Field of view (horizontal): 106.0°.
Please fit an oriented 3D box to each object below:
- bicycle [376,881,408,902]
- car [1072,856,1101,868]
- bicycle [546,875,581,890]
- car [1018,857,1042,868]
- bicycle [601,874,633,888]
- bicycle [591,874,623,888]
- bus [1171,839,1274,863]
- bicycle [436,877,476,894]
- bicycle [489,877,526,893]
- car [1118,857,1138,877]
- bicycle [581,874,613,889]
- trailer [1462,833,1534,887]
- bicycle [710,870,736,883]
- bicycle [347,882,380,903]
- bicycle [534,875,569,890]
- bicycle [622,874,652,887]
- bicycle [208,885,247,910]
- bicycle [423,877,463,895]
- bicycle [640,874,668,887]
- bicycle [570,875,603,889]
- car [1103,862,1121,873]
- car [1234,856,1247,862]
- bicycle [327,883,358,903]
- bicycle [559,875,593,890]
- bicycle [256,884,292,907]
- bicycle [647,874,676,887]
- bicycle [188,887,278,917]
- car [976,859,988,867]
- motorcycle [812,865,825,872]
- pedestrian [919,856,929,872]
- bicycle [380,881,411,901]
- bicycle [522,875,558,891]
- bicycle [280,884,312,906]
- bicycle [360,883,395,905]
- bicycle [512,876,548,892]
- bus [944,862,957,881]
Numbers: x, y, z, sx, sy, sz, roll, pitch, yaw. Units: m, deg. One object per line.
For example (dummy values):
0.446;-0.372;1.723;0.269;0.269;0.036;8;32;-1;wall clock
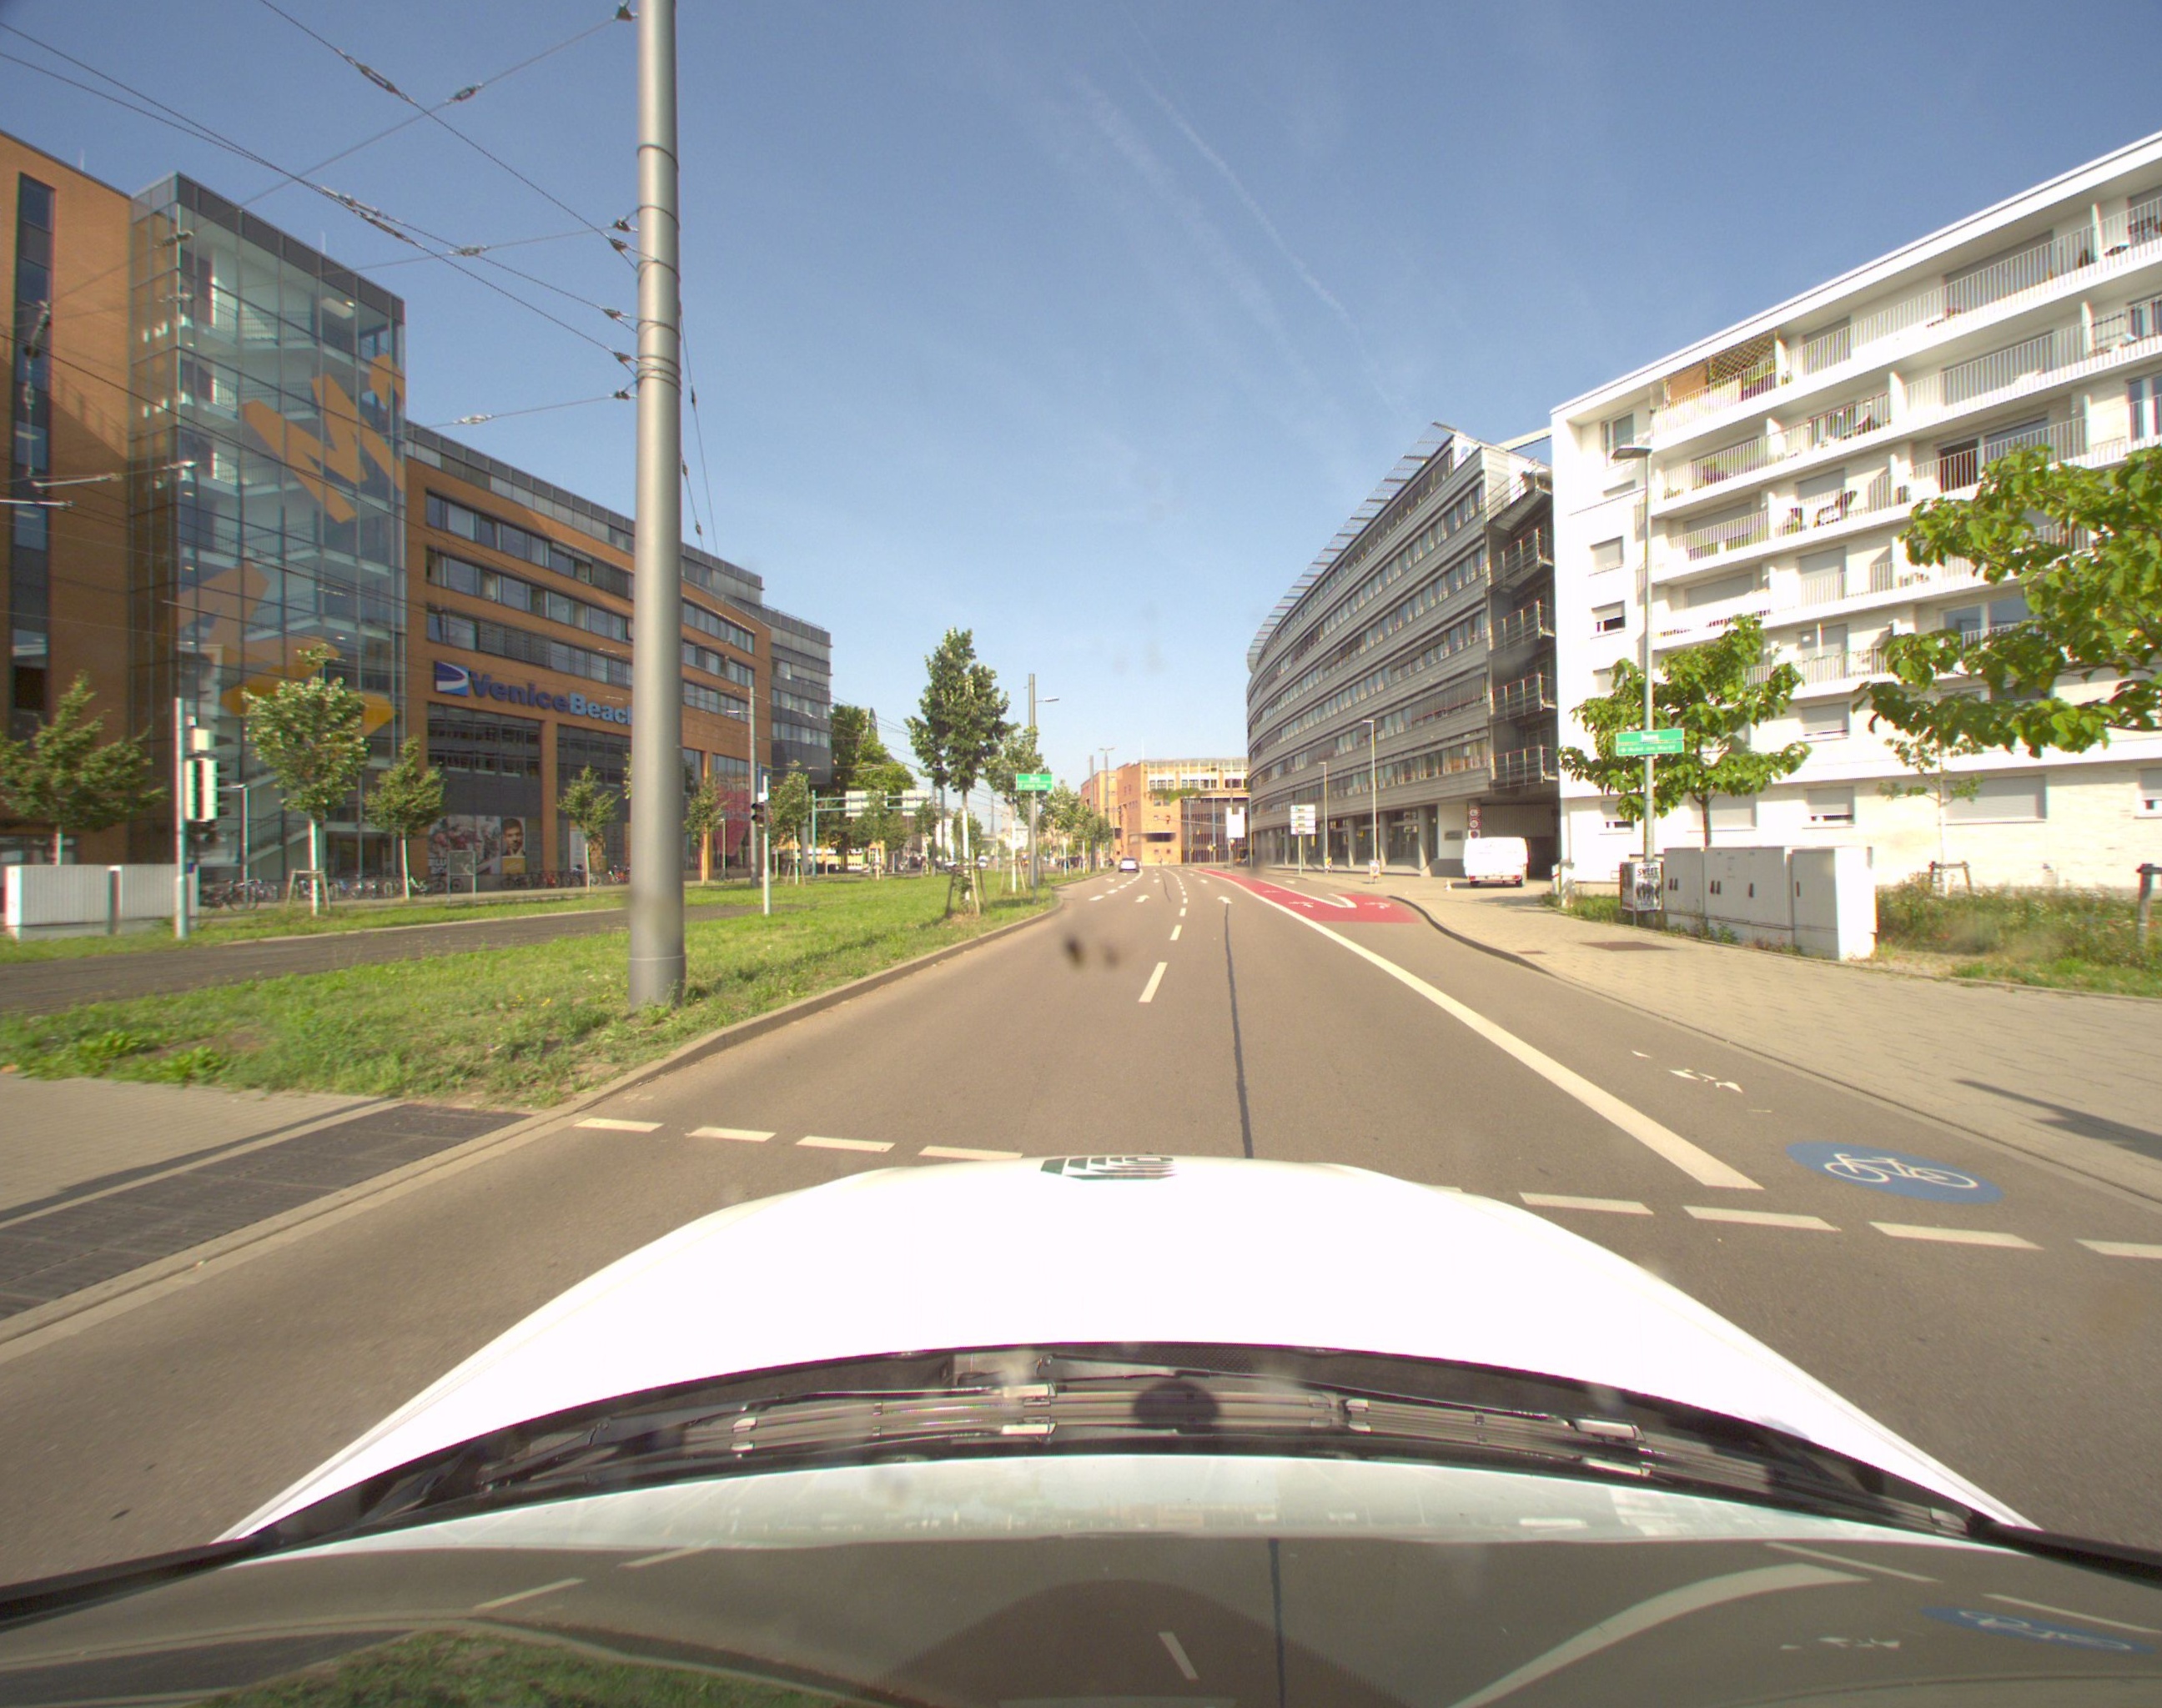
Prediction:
-32.679;1.773;38.601;1.565;0.940;0.413;-1;-1;20;bicycle
0.807;1.201;119.767;1.975;1.678;4.023;-3;-3;45;car
-32.617;1.779;51.341;2.033;0.921;0.576;-1;-1;14;bicycle
-8.071;1.320;128.882;3.599;1.624;1.868;-1;-1;1;car
-31.715;1.831;55.696;2.033;0.921;0.576;-1;-1;14;bicycle
-31.891;1.831;54.809;2.033;0.921;0.576;-1;-1;14;bicycle
24.704;-0.445;143.139;17.535;3.811;2.867;-1;-2;3;bus
-34.310;1.734;44.715;2.033;0.921;0.576;-1;-1;14;bicycle
-33.469;1.811;47.545;2.033;0.921;0.576;-1;-1;14;bicycle
4.396;1.255;75.601;1.697;1.755;3.895;-1;-2;5;car
-32.046;1.827;53.928;2.033;0.921;0.576;-1;-1;14;bicycle
18.260;0.253;35.480;2.366;2.151;5.986;-1;0;31;trailer
-25.747;1.589;58.517;1.661;0.907;0.713;-1;-1;19;bicycle
-33.334;1.784;37.820;1.566;0.940;0.413;-1;-1;19;bicycle
-32.824;1.756;50.522;2.033;0.921;0.576;-1;-1;14;bicycle
-31.178;1.871;57.184;2.033;0.921;0.576;-1;-1;14;bicycle
-33.623;1.704;32.076;1.566;0.940;0.413;-1;-1;19;bicycle
-34.470;1.714;43.993;2.033;0.921;0.576;-1;-1;14;bicycle
-30.870;1.922;58.911;2.033;0.921;0.382;-1;-1;14;bicycle
-32.246;1.815;53.088;2.033;0.921;0.576;-1;-1;14;bicycle
5.431;2.403;144.281;1.997;2.014;3.978;0;-2;-16;car
27.380;0.803;139.709;1.943;0.958;1.094;1;-3;3;car
-33.175;1.740;36.564;1.452;0.830;0.258;1;-2;16;bicycle
-32.387;1.816;52.234;2.033;0.921;0.576;-1;-1;14;bicycle
-33.519;1.710;33.812;1.566;0.940;0.413;-1;-1;19;bicycle
-30.723;1.943;59.635;2.033;0.921;0.576;-1;-1;14;bicycle
-30.271;1.710;29.105;0.440;0.988;2.177;-2;-2;29;bicycle
-19.422;1.774;160.014;1.723;1.542;3.448;-1;0;1;car
-35.793;2.001;110.991;1.687;0.995;0.283;-1;1;-5;motorcycle
-19.645;1.286;102.146;1.155;2.014;0.774;-1;-2;-9;pedestrian
-33.227;1.783;39.464;1.566;0.940;0.413;-1;-1;19;bicycle
-32.984;1.773;49.661;2.033;0.921;0.576;-1;-1;14;bicycle
-33.616;1.759;34.884;1.452;0.887;0.258;-1;-2;16;bicycle
-30.983;1.740;35.848;1.566;0.940;0.413;-1;-1;18;bicycle
-33.134;1.797;49.008;2.033;0.921;0.576;-1;-1;14;bicycle
-29.499;4.027;183.844;2.746;3.922;12.177;-1;-2;-9;bus
